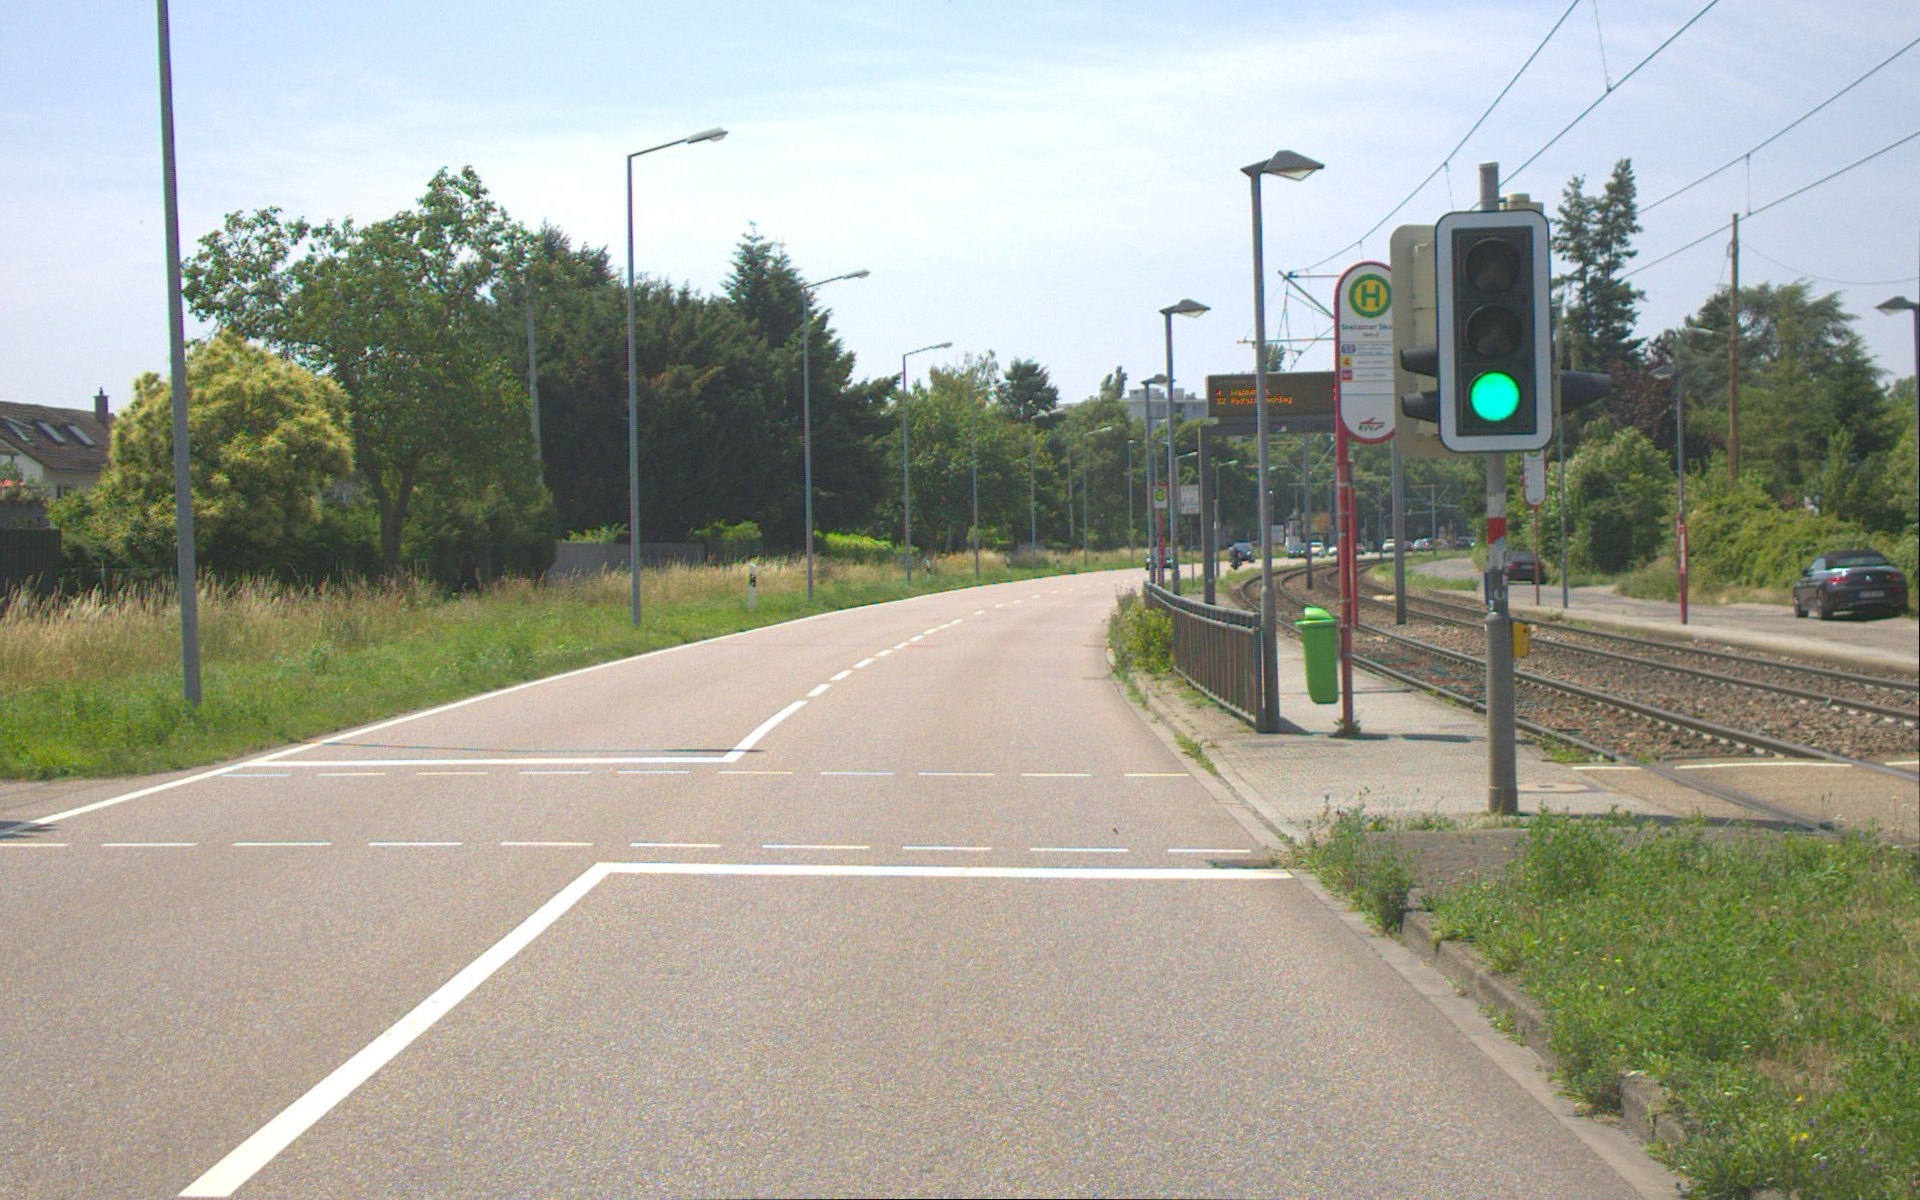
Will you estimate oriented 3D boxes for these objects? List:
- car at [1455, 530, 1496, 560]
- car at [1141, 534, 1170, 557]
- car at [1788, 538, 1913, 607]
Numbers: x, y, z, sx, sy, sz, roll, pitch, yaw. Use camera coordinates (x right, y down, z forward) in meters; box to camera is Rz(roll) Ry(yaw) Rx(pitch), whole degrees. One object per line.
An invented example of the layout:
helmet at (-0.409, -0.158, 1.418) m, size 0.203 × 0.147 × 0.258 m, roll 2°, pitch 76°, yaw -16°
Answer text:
car at (26.289, -2.802, 175.419) m, size 1.914 × 1.465 × 3.999 m, roll 0°, pitch 1°, yaw 7°
car at (12.387, -3.456, 217.778) m, size 1.706 × 1.399 × 4.707 m, roll 0°, pitch 1°, yaw 5°
car at (18.752, -0.597, 72.583) m, size 1.620 × 1.417 × 4.872 m, roll 0°, pitch 1°, yaw 3°
